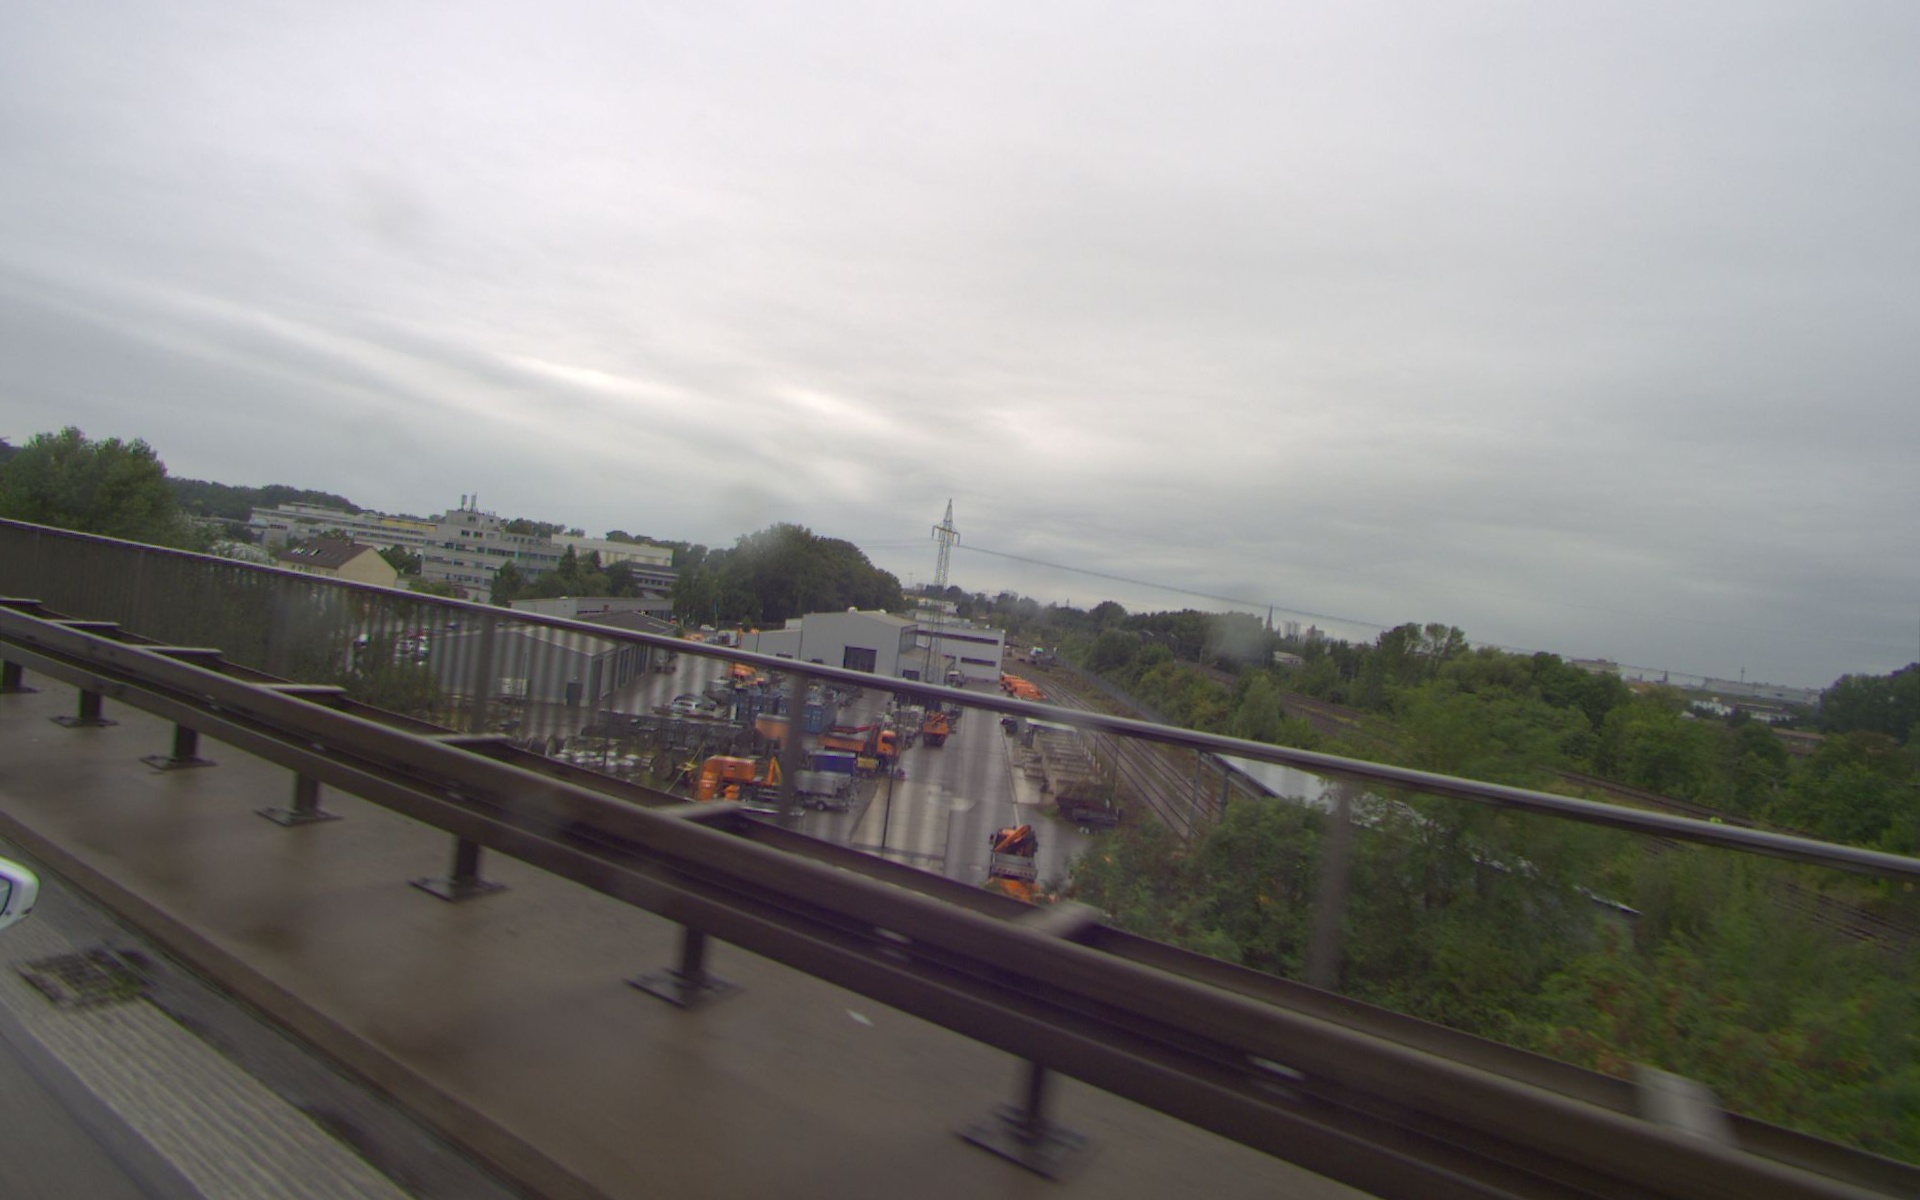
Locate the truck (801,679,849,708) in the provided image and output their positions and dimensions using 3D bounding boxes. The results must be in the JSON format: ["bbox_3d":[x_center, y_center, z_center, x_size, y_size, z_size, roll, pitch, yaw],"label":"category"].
[{"bbox_3d":[-19.488,13.528,145.406,6.469,3.221,2.105,7,-2,-2],"label":"truck"}]

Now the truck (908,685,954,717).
[{"bbox_3d":[-4.350,14.990,150.103,6.469,3.854,2.105,7,-1,-2],"label":"truck"}]

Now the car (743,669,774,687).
[{"bbox_3d":[-28.615,11.114,143.013,3.928,2.036,2.000,7,-2,-4],"label":"car"}]

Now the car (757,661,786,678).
[{"bbox_3d":[-28.436,10.456,151.689,3.928,2.036,2.000,7,-2,-4],"label":"car"}]

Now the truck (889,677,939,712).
[{"bbox_3d":[-6.332,13.082,139.318,6.469,3.854,2.105,7,-1,-2],"label":"truck"}]

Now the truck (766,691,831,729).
[{"bbox_3d":[-17.604,12.014,110.093,6.469,3.221,2.105,7,-2,-2],"label":"truck"}]

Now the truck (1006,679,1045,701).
[{"bbox_3d":[11.779,16.165,180.911,6.488,3.220,2.099,8,-2,-15],"label":"truck"}]

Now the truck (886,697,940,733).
[{"bbox_3d":[-6.120,15.004,131.361,6.469,3.854,2.105,7,-1,-2],"label":"truck"}]

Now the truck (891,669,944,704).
[{"bbox_3d":[-5.646,11.499,133.708,6.469,3.854,2.105,7,-1,-2],"label":"truck"}]

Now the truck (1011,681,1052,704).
[{"bbox_3d":[12.192,15.771,171.465,6.488,3.220,2.099,8,-2,-15],"label":"truck"}]

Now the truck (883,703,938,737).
[{"bbox_3d":[-6.073,14.736,123.725,6.469,3.221,2.105,7,-2,-2],"label":"truck"}]

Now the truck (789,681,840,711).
[{"bbox_3d":[-19.959,13.138,138.338,6.469,3.221,2.105,7,-2,-2],"label":"truck"}]

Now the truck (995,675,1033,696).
[{"bbox_3d":[10.362,16.454,193.058,6.488,3.220,2.099,8,-2,-15],"label":"truck"}]

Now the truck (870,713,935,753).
[{"bbox_3d":[-6.008,13.987,105.987,6.469,3.221,2.105,7,-2,-2],"label":"truck"}]

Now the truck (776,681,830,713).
[{"bbox_3d":[-20.670,12.788,132.761,6.469,3.221,2.105,7,-2,-2],"label":"truck"}]

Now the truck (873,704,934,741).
[{"bbox_3d":[-6.362,13.852,114.196,6.469,3.221,2.105,7,-2,-2],"label":"truck"}]

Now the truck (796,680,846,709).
[{"bbox_3d":[-19.497,13.358,141.800,6.469,3.221,2.105,7,-2,-2],"label":"truck"}]

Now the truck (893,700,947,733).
[{"bbox_3d":[-5.115,14.856,128.192,6.469,3.221,2.105,7,-2,-2],"label":"truck"}]
